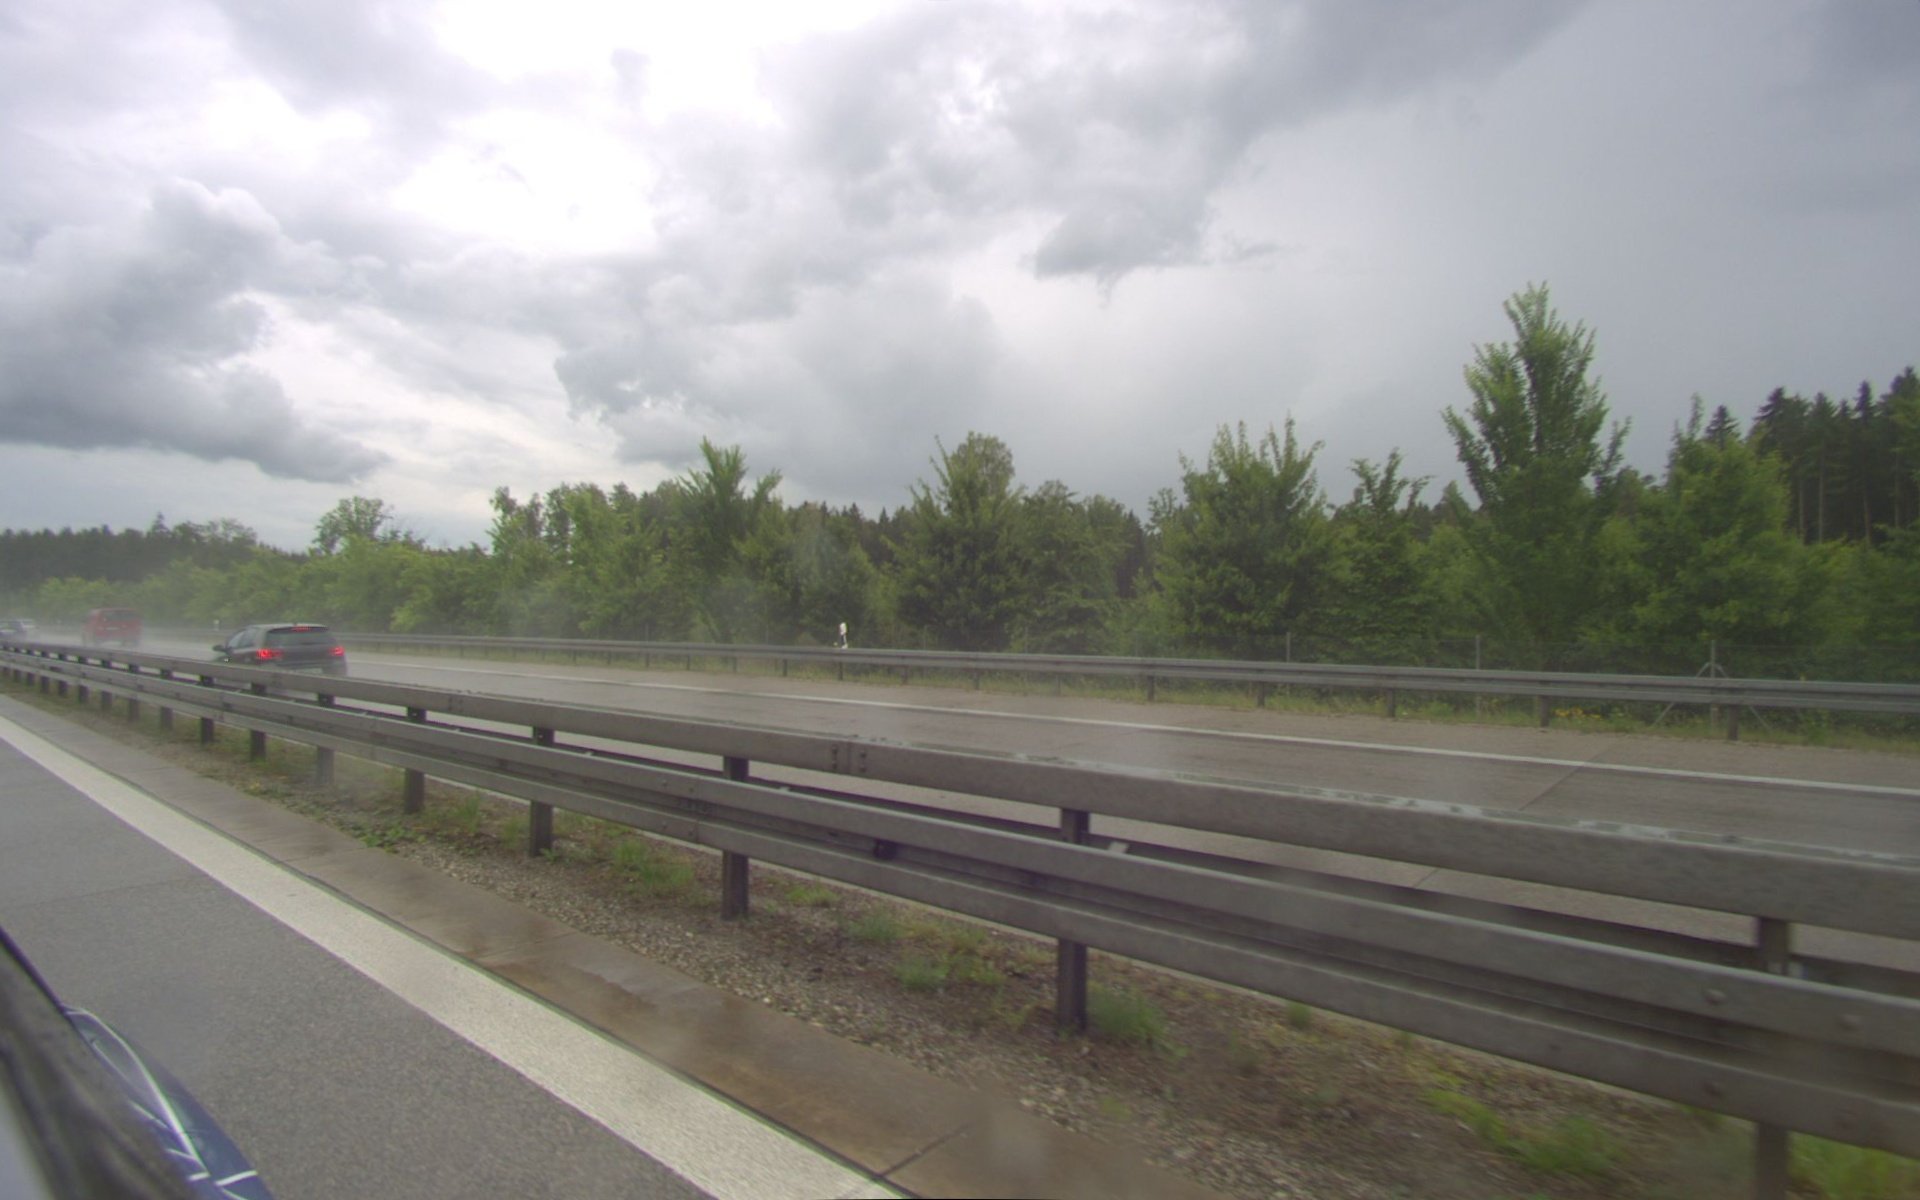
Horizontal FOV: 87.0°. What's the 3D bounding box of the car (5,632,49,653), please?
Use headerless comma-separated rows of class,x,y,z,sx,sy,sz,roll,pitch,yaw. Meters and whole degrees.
car,-65.379,2.962,70.888,3.915,1.446,1.732,-2,-4,40

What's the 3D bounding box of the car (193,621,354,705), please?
car,-14.510,1.237,21.309,4.019,1.510,1.809,0,0,40

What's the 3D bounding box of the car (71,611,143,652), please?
car,-45.267,1.680,53.664,5.309,2.080,1.973,-2,-4,40
